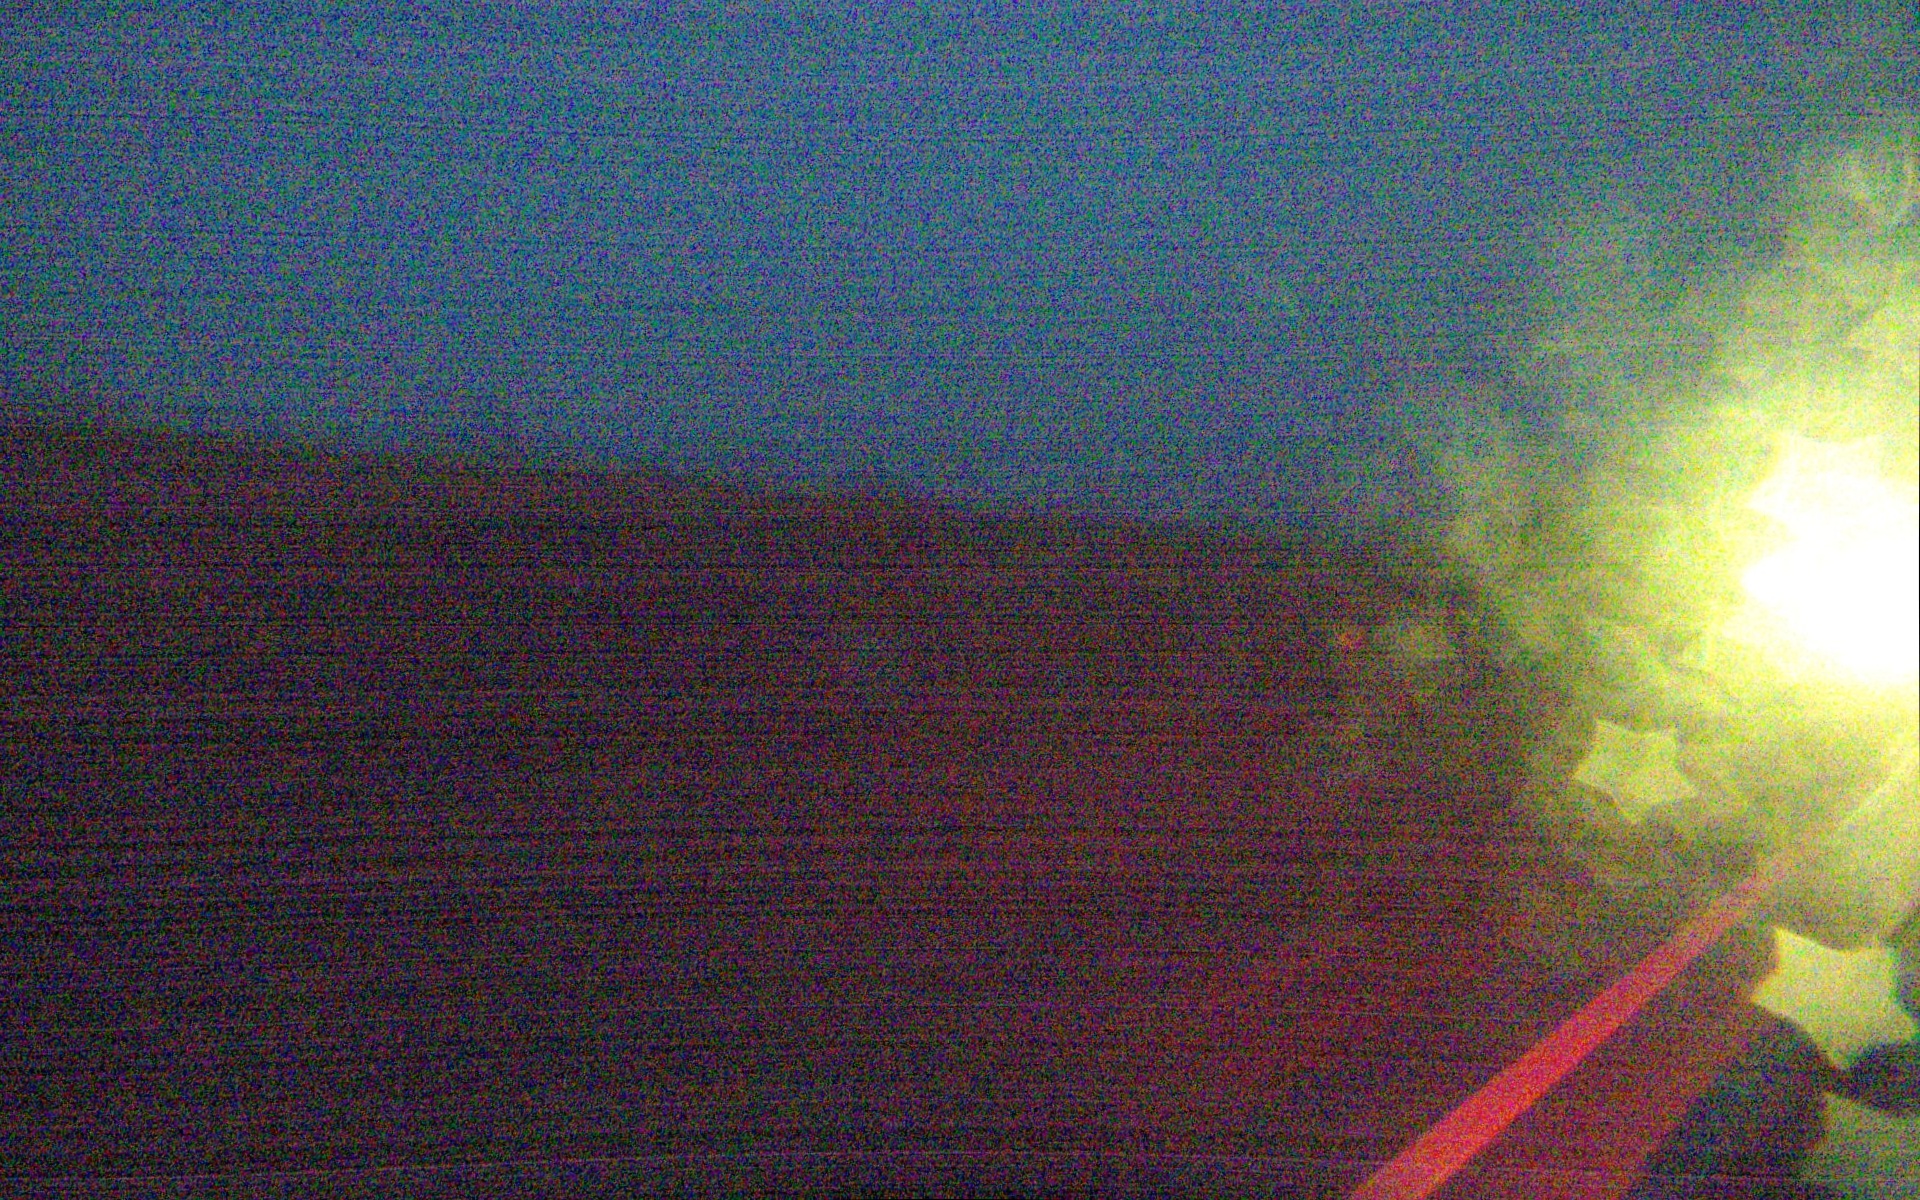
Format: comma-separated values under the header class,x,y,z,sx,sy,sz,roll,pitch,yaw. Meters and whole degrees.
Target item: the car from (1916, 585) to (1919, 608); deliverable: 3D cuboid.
class,x,y,z,sx,sy,sz,roll,pitch,yaw
car,91.093,-0.297,94.783,1.991,2.038,3.944,2,3,40
